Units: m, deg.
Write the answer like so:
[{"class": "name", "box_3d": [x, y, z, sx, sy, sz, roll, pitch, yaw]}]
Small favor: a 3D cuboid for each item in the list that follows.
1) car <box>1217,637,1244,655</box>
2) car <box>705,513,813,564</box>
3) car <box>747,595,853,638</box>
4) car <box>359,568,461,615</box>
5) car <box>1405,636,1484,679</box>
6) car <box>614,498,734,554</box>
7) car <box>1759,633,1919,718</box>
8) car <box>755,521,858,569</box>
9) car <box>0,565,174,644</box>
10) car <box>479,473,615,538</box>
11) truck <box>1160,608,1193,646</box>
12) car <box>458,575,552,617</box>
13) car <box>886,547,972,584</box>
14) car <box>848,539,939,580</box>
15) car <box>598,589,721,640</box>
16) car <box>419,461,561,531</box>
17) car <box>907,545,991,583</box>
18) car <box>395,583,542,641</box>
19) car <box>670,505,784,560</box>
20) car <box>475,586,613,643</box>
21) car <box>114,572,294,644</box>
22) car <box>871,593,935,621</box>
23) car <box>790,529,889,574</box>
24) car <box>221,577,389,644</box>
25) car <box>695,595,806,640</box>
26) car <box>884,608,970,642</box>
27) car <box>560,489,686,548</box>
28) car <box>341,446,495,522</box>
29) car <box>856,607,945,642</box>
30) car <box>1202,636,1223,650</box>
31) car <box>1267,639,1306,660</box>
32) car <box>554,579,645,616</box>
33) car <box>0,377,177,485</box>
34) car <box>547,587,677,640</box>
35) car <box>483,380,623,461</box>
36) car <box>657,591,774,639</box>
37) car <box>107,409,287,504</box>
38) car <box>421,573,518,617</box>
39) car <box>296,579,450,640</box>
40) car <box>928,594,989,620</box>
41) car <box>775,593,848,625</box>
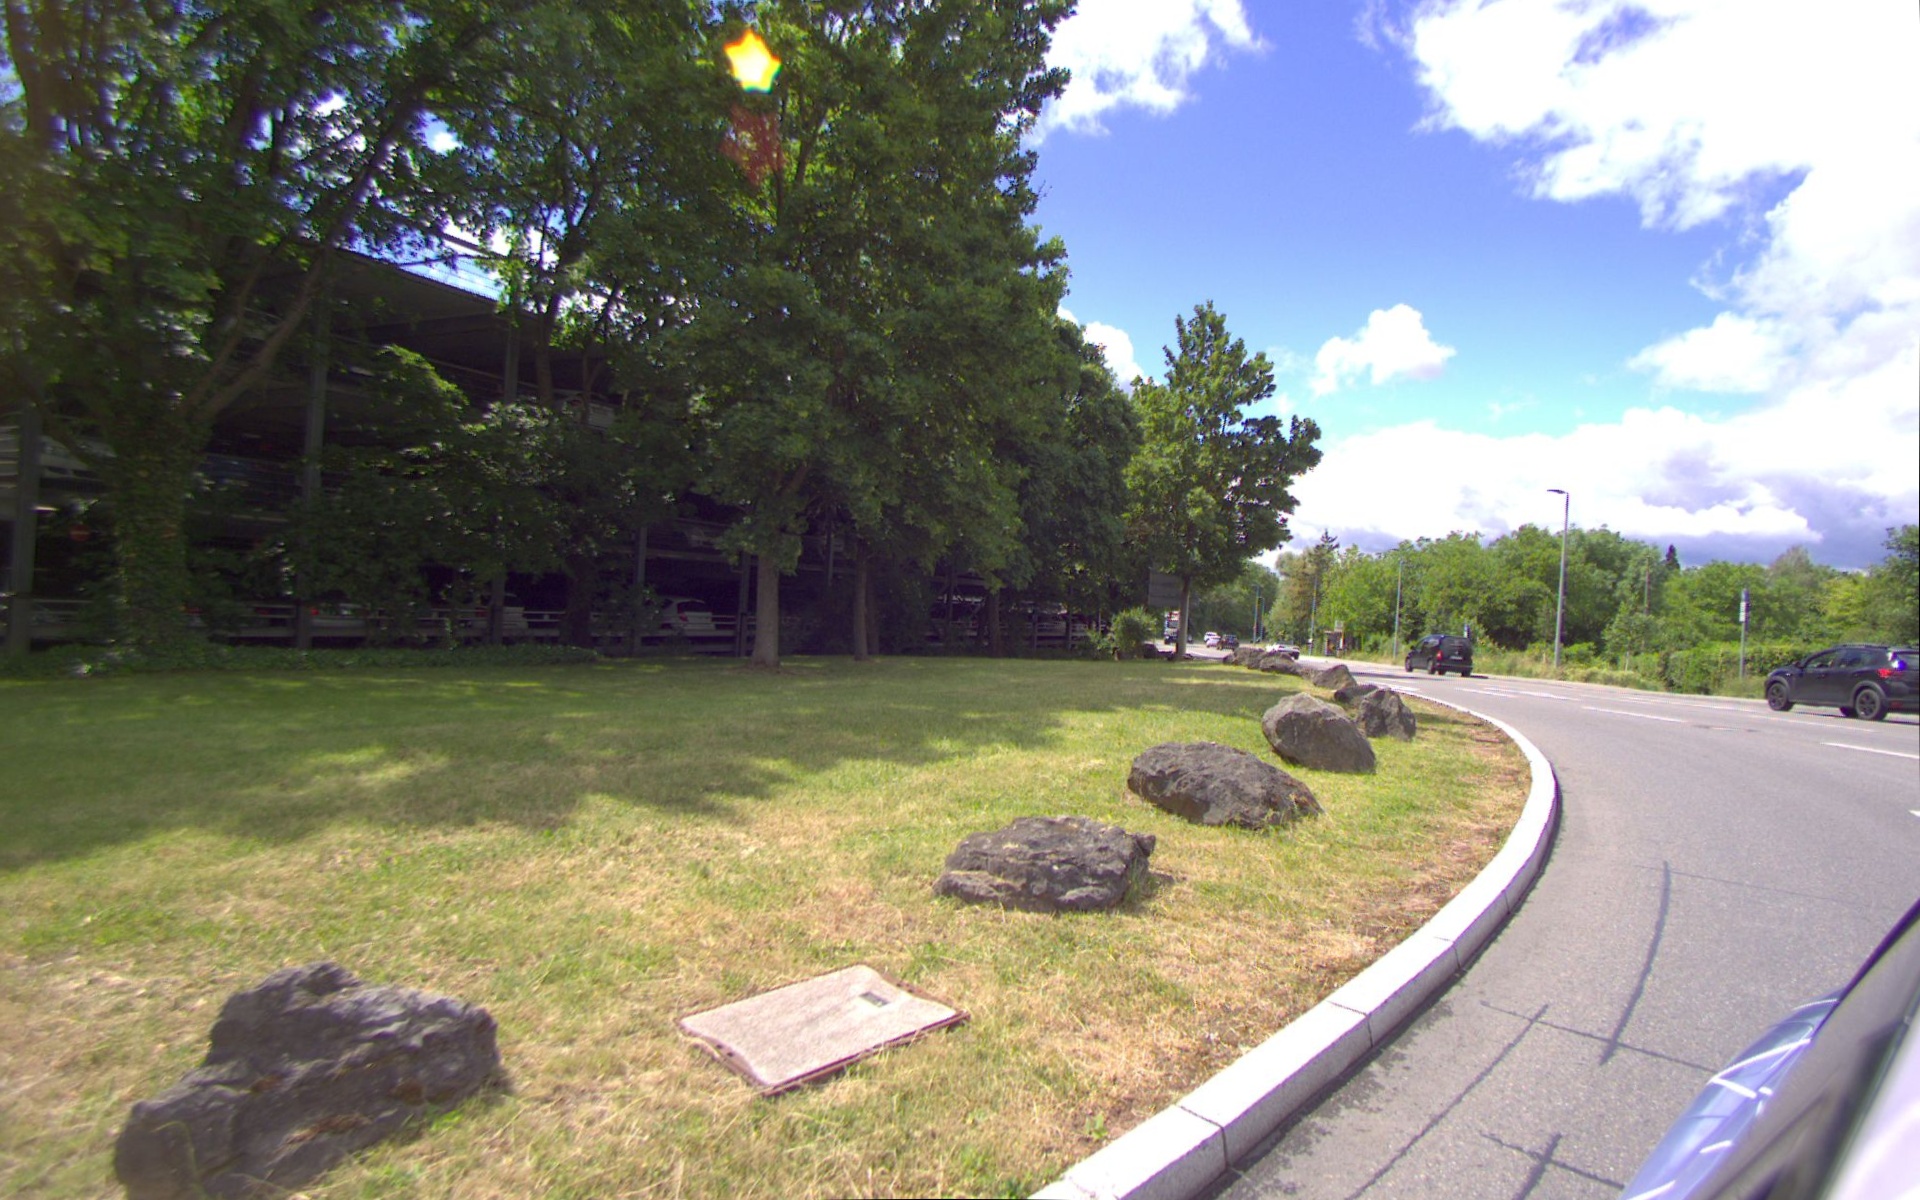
[{"class": "car", "box_3d": [27.540, 4.651, 103.114, 1.796, 1.675, 4.523, 4, -1, 6]}, {"class": "car", "box_3d": [-7.438, -2.289, 37.413, 3.675, 1.640, 1.707, 3, -3, 32]}, {"class": "car", "box_3d": [-6.257, 0.642, 39.576, 3.827, 1.410, 1.757, 3, -1, 31]}, {"class": "car", "box_3d": [-20.375, -0.328, 37.469, 3.754, 1.388, 1.577, 5, 0, 31]}, {"class": "car", "box_3d": [22.203, 2.688, 46.564, 1.760, 1.802, 4.799, 3, -4, 6]}, {"class": "car", "box_3d": [-9.491, -2.454, 33.540, 3.675, 1.561, 1.707, 3, -3, 32]}, {"class": "car", "box_3d": [19.281, 1.553, 21.426, 1.760, 1.598, 4.155, 3, -1, 7]}, {"class": "car", "box_3d": [-6.022, -2.161, 39.586, 3.675, 1.640, 1.707, 3, -3, 32]}, {"class": "car", "box_3d": [-17.262, 0.069, 19.740, 3.768, 1.309, 1.757, 3, -1, 31]}, {"class": "car", "box_3d": [-11.917, -2.689, 29.182, 3.675, 1.561, 1.707, 3, -3, 32]}, {"class": "truck", "box_3d": [24.746, 3.050, 116.142, 3.194, 3.908, 9.838, 5, 0, 11]}, {"class": "car", "box_3d": [-18.623, -0.172, 41.404, 3.754, 1.388, 1.577, 5, 0, 31]}, {"class": "car", "box_3d": [-1.483, -1.625, 47.433, 3.676, 1.449, 1.640, 3, -3, 32]}, {"class": "car", "box_3d": [-3.008, -1.832, 45.604, 3.675, 1.561, 1.707, 3, -3, 32]}, {"class": "car", "box_3d": [-9.870, 0.478, 33.218, 3.768, 1.410, 1.757, 3, -1, 31]}, {"class": "car", "box_3d": [-12.863, -2.801, 27.672, 3.675, 1.561, 1.707, 3, -3, 32]}, {"class": "car", "box_3d": [-0.531, -1.755, 48.951, 3.676, 1.583, 1.640, 3, -3, 32]}, {"class": "car", "box_3d": [-13.277, 0.325, 27.315, 3.768, 1.309, 1.757, 3, -1, 31]}, {"class": "car", "box_3d": [-8.208, -2.378, 35.577, 3.675, 1.640, 1.707, 3, -3, 32]}, {"class": "car", "box_3d": [-12.079, 0.422, 29.374, 3.768, 1.410, 1.757, 3, -1, 31]}, {"class": "car", "box_3d": [-16.216, 0.163, 21.689, 3.768, 1.309, 1.757, 3, -1, 31]}, {"class": "car", "box_3d": [-3.772, 0.480, 66.530, 3.828, 1.504, 1.734, 5, 0, 31]}, {"class": "car", "box_3d": [-4.943, -2.004, 41.469, 3.675, 1.561, 1.707, 3, -3, 32]}, {"class": "car", "box_3d": [-15.252, 0.229, 23.542, 3.768, 1.309, 1.757, 3, -1, 31]}, {"class": "car", "box_3d": [-7.750, 0.628, 37.319, 3.768, 1.410, 1.757, 3, -1, 31]}, {"class": "car", "box_3d": [-1.609, 1.205, 48.936, 3.827, 1.410, 1.676, 3, -1, 31]}, {"class": "car", "box_3d": [-10.652, -2.559, 31.956, 3.675, 1.561, 1.707, 3, -3, 32]}, {"class": "car", "box_3d": [-13.665, -2.871, 25.473, 3.675, 1.561, 1.707, 3, -3, 32]}, {"class": "car", "box_3d": [-2.801, 1.142, 47.295, 3.827, 1.410, 1.676, 3, -1, 31]}, {"class": "car", "box_3d": [29.788, 5.109, 119.598, 1.741, 1.460, 3.893, 5, -1, 5]}, {"class": "car", "box_3d": [24.495, 3.714, 76.080, 1.879, 1.307, 4.599, 4, -1, 7]}, {"class": "car", "box_3d": [-16.076, -0.134, 45.088, 3.768, 1.410, 1.757, 3, -1, 31]}, {"class": "car", "box_3d": [-17.011, -3.172, 19.550, 3.675, 1.561, 1.707, 3, -3, 32]}, {"class": "car", "box_3d": [-10.828, 0.407, 31.441, 3.768, 1.410, 1.757, 3, -1, 31]}, {"class": "car", "box_3d": [-11.903, -5.174, 29.532, 3.970, 1.683, 1.846, 0, -1, 33]}, {"class": "car", "box_3d": [-8.513, 0.520, 35.220, 3.768, 1.410, 1.757, 3, -1, 31]}, {"class": "car", "box_3d": [-16.071, -2.949, 21.287, 3.675, 1.561, 1.707, 3, -3, 32]}, {"class": "car", "box_3d": [-19.175, -0.220, 39.521, 3.754, 1.388, 1.577, 5, 0, 31]}, {"class": "car", "box_3d": [-15.014, 0.225, 25.867, 3.768, 1.309, 1.757, 3, -1, 31]}, {"class": "car", "box_3d": [-0.122, 0.467, 70.718, 3.828, 1.460, 1.734, 5, 0, 31]}, {"class": "car", "box_3d": [-8.444, 0.509, 57.390, 3.828, 1.504, 1.676, 5, 0, 31]}]
